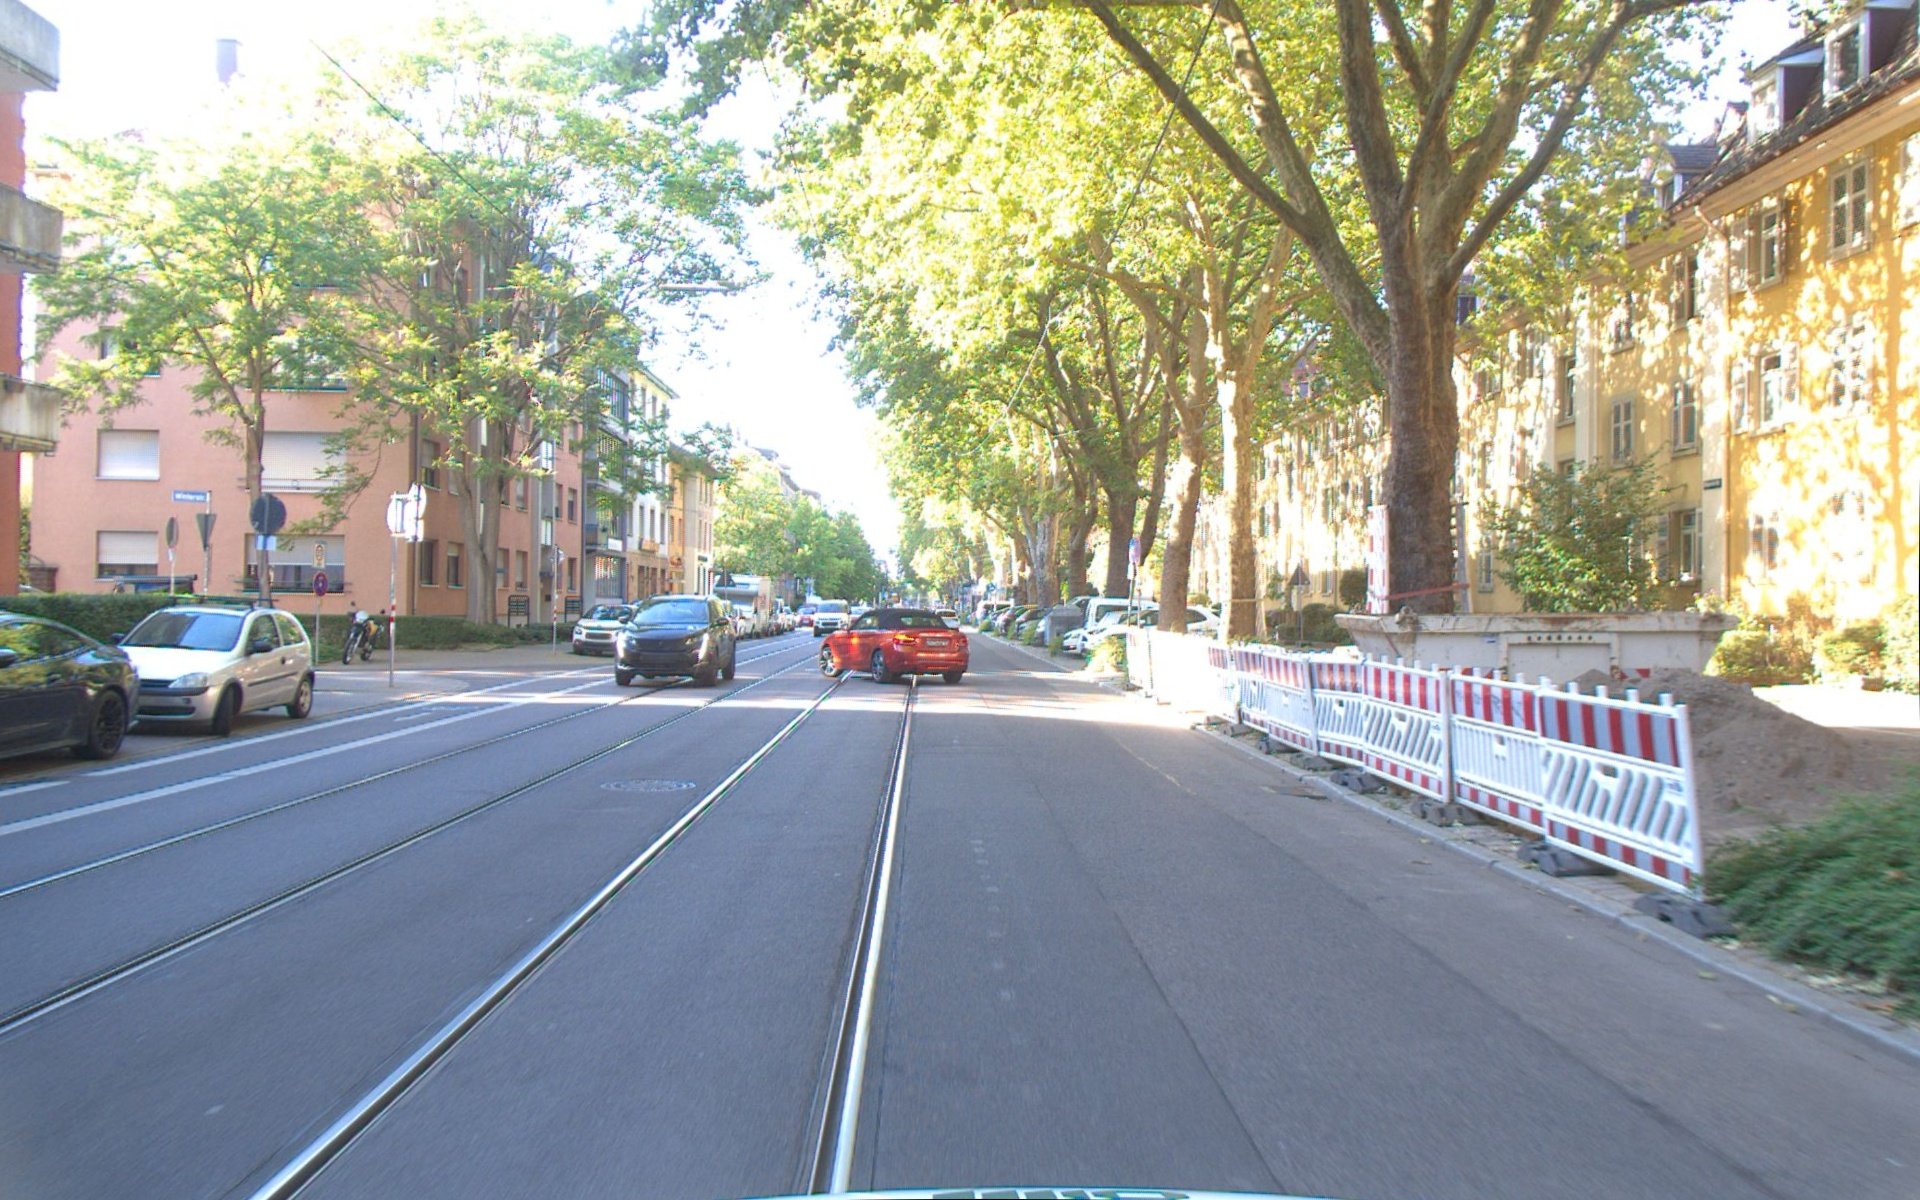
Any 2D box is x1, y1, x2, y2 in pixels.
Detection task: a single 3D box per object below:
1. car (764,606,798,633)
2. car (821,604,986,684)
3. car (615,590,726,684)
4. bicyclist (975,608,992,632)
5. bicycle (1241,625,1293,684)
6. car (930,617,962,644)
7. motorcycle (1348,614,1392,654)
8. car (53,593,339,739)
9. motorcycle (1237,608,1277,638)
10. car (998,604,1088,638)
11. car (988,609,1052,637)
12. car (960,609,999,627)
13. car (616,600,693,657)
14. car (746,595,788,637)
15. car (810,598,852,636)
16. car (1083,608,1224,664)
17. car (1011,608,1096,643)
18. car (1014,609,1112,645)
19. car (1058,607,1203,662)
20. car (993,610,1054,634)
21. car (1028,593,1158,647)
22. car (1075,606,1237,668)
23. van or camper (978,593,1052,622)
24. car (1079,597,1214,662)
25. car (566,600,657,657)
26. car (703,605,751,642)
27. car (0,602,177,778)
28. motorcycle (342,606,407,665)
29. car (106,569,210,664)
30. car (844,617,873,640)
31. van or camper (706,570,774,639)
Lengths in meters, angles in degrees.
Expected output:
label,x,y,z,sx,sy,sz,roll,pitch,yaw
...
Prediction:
label,x,y,z,sx,sy,sz,roll,pitch,yaw
car,-11.240,1.203,104.162,1.800,1.494,5.066,4,0,-3
car,-1.205,0.838,33.071,1.770,1.413,4.203,2,0,-25
car,-5.366,0.649,31.071,1.818,1.628,4.457,0,0,-7
bicyclist,1.675,1.440,119.803,1.027,1.735,1.055,1,-1,-11
bicycle,6.465,1.128,34.894,0.676,1.174,1.948,1,0,-1
car,-0.876,1.835,100.303,1.879,1.612,3.790,0,0,-2
motorcycle,12.352,1.021,49.902,0.700,1.173,2.263,0,0,-1
car,-9.116,0.732,20.109,1.691,1.509,3.928,3,0,-2
motorcycle,14.484,1.102,80.599,1.768,1.385,0.622,-2,0,-4
car,4.146,1.053,82.816,4.402,1.630,2.028,-1,-1,2
car,3.724,1.436,102.831,3.845,1.699,1.959,1,-1,-3
car,1.930,1.819,166.997,3.906,1.816,1.999,1,-1,-1
car,-9.912,0.897,53.958,1.745,1.638,4.586,4,0,-2
car,-10.911,0.886,93.631,1.914,2.128,5.245,4,0,-3
car,-6.588,0.876,84.935,1.853,1.864,4.893,1,0,-2
car,5.350,0.990,46.121,3.764,1.458,1.852,1,-1,2
car,4.293,1.185,76.361,3.760,1.536,1.710,1,-1,-2
car,4.490,1.191,72.457,4.161,1.510,1.897,1,-1,-2
car,5.124,1.027,50.103,4.279,1.569,1.802,1,0,2
car,3.853,1.355,100.721,3.575,1.402,1.889,1,-1,-1
car,5.073,0.767,63.573,4.740,1.998,2.063,1,-1,-4
car,5.158,0.975,43.799,4.006,1.548,1.915,1,-1,-3
van or camper,4.180,0.581,127.007,5.448,2.048,2.242,0,2,-6
car,5.371,0.846,48.085,3.764,1.803,1.917,1,-1,2
car,-10.156,0.813,48.475,1.769,1.504,4.089,3,-1,0
car,-10.471,1.058,74.460,1.676,1.514,3.860,4,0,-2
car,-9.155,0.768,14.802,1.913,1.419,4.862,3,0,0
motorcycle,-14.368,0.849,40.681,0.884,1.303,2.347,0,2,-3
car,-19.515,0.398,40.158,1.972,2.160,4.677,2,-1,-29
car,-6.727,1.903,110.028,1.740,1.483,4.201,0,0,-2
van or camper,-10.715,0.252,80.970,2.290,3.094,6.396,4,0,0
